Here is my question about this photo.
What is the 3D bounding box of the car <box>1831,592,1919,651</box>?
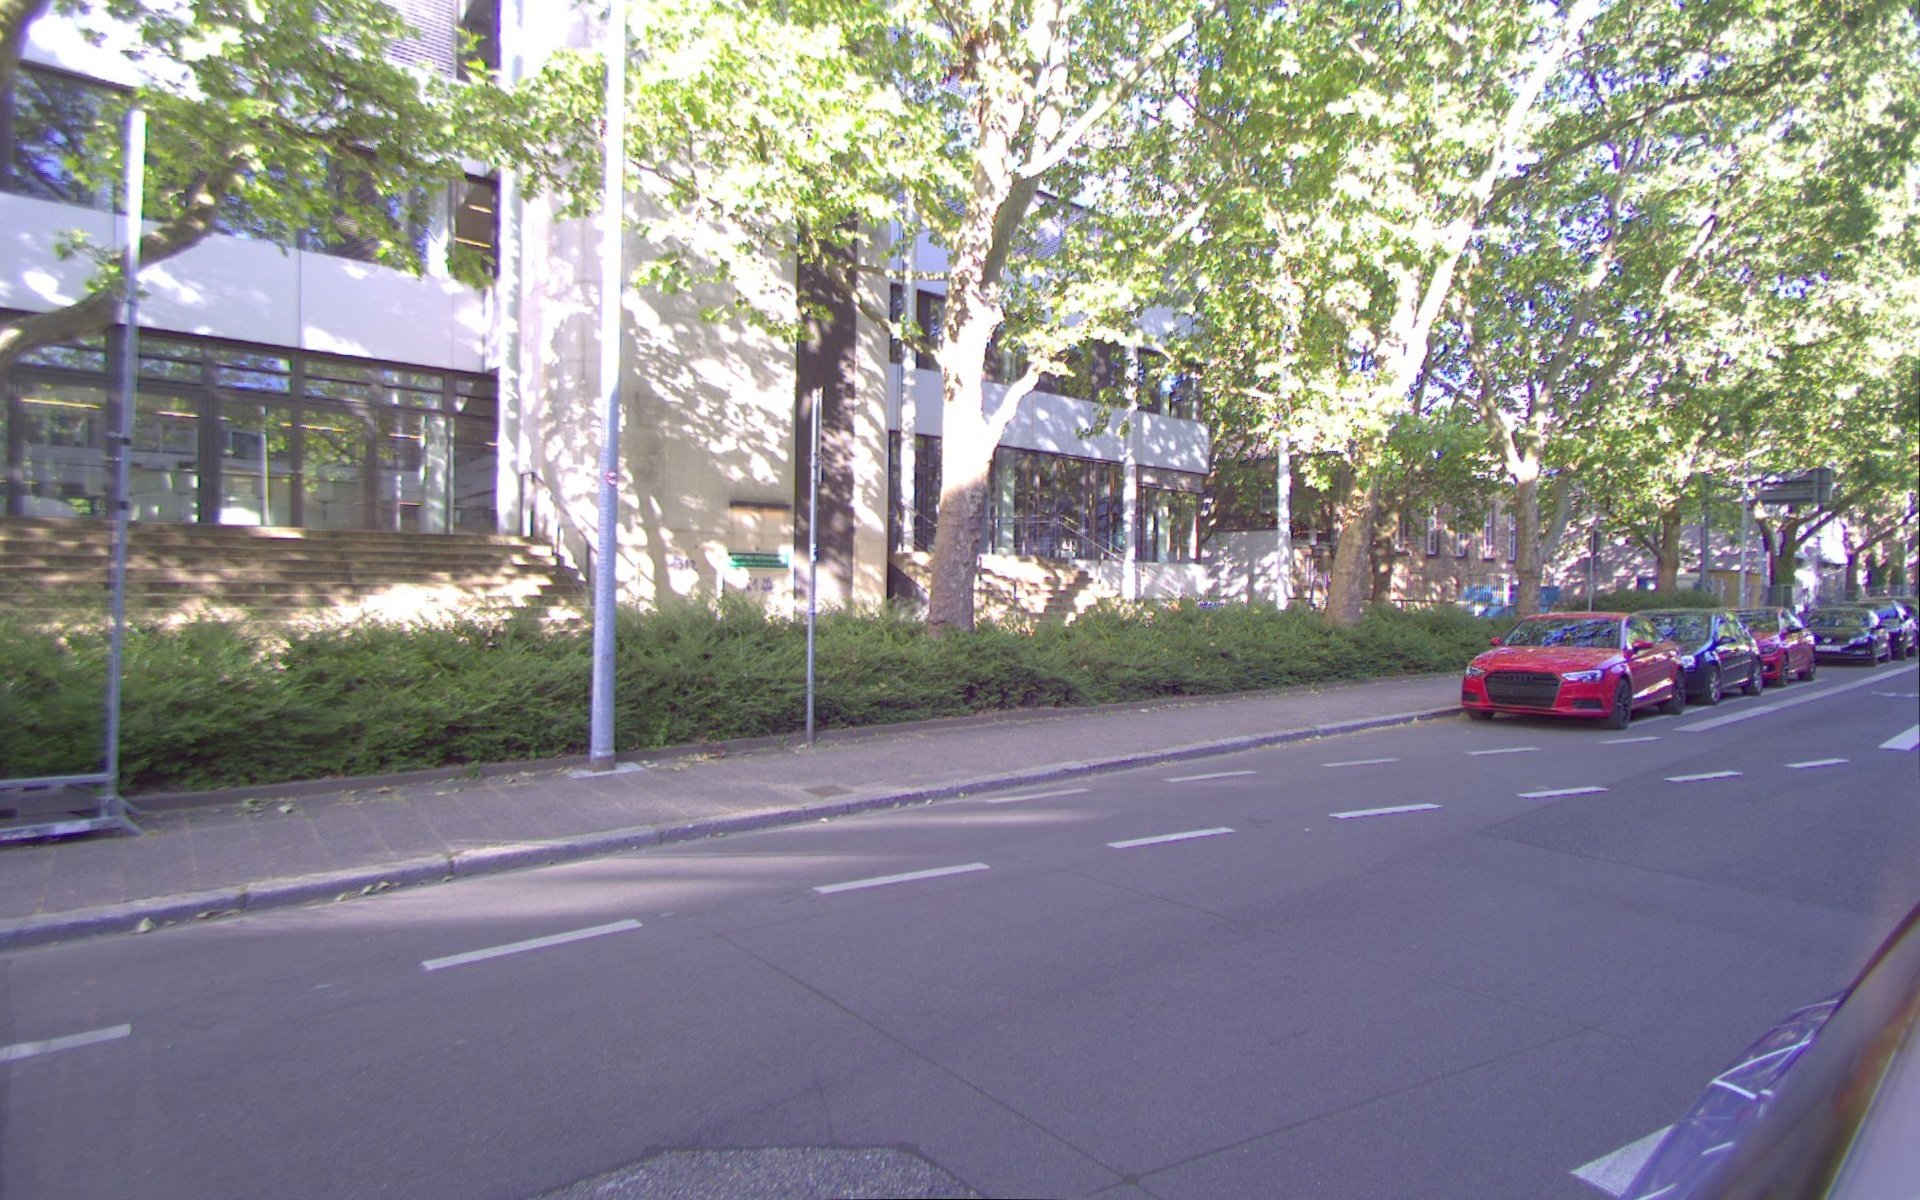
[{"bbox_3d":[26.608,0.588,29.141,4.092,1.573,1.788,0,-1,-42],"label":"car"}]

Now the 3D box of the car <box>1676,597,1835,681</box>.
[{"bbox_3d":[15.871,0.700,20.115,4.092,1.502,1.815,0,-1,-42],"label":"car"}]

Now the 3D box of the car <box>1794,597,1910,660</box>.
[{"bbox_3d":[23.063,0.679,26.109,4.092,1.478,1.788,0,-1,-42],"label":"car"}]

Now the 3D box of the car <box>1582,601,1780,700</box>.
[{"bbox_3d":[11.966,0.738,16.694,4.092,1.431,1.815,0,-1,-42],"label":"car"}]

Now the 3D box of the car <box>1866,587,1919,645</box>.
[{"bbox_3d":[31.068,0.488,33.024,4.271,1.777,1.788,0,-1,-42],"label":"car"}]

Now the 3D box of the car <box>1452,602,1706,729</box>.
[{"bbox_3d":[8.372,0.753,13.555,4.092,1.431,1.815,0,-1,-42],"label":"car"}]

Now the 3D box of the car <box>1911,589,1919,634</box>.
[{"bbox_3d":[39.638,0.438,40.410,4.475,1.777,2.040,0,-1,-42],"label":"car"}]

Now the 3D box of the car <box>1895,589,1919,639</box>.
[{"bbox_3d":[35.921,0.483,37.260,4.475,1.777,1.788,0,-1,-42],"label":"car"}]
